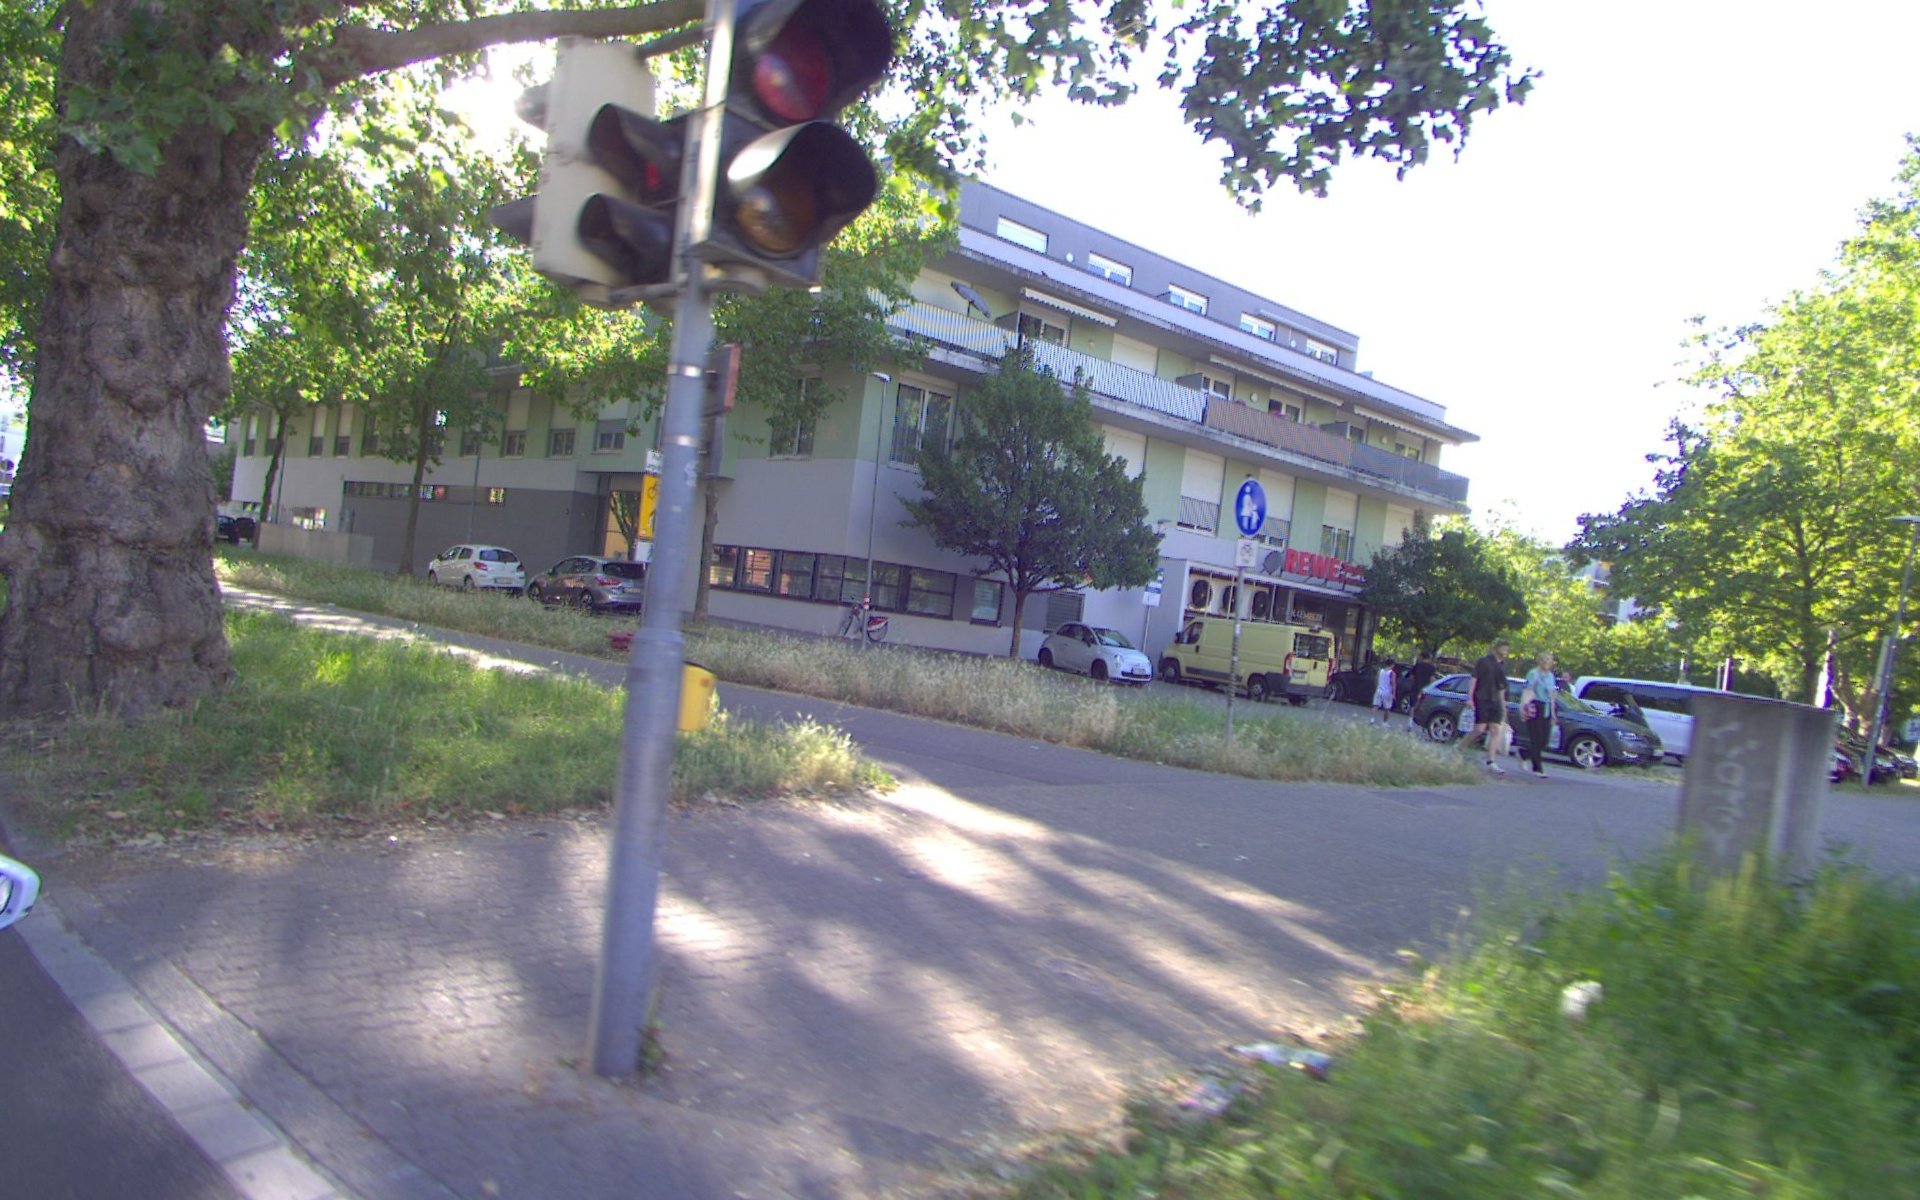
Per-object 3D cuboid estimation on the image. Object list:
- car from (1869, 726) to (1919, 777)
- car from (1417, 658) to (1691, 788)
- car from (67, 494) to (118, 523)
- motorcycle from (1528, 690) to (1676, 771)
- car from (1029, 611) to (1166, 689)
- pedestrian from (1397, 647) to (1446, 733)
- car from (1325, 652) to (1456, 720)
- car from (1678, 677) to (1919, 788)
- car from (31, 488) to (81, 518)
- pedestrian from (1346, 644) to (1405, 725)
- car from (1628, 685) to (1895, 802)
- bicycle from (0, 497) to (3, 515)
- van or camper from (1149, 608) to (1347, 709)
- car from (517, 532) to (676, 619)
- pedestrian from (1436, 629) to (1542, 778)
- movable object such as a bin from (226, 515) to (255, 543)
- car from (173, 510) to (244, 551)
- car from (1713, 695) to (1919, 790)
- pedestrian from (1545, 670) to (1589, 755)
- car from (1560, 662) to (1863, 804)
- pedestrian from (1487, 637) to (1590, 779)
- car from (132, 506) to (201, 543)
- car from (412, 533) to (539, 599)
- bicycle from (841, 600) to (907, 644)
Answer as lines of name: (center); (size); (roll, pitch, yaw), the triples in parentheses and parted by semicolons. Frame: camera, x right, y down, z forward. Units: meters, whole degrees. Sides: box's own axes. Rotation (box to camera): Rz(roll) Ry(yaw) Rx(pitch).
car: (38.658, 6.145, 39.349); (4.035, 1.819, 2.001); (6, -2, 20)
car: (11.041, 2.242, 18.944); (1.663, 1.542, 3.941); (7, 3, -39)
car: (-66.045, -6.994, 76.572); (4.117, 1.755, 1.985); (7, 0, 37)
motorcycle: (13.209, 2.660, 20.765); (0.944, 1.263, 2.292); (7, 0, -38)
car: (3.723, 1.338, 27.750); (1.660, 1.473, 3.522); (8, 3, -34)
pedestrian: (10.547, 2.049, 22.980); (0.676, 1.832, 0.961); (7, 1, 35)
car: (14.357, 2.855, 33.712); (1.563, 1.653, 3.643); (7, 0, -34)
car: (21.890, 3.385, 26.232); (1.983, 1.798, 4.587); (8, 3, -34)
car: (-67.468, -7.251, 75.046); (4.116, 1.755, 1.876); (7, 0, 36)
pedestrian: (9.607, 1.937, 23.255); (0.935, 1.719, 0.881); (7, 1, 34)
car: (19.650, 3.477, 24.890); (1.983, 1.798, 4.587); (8, 3, -34)
bicycle: (-52.950, -5.206, 54.911); (1.459, 1.016, 0.384); (7, 1, 23)
van or camper: (8.431, 1.673, 30.028); (2.242, 2.274, 5.324); (7, 0, -32)
car: (-9.665, -0.678, 26.627); (4.257, 1.792, 1.903); (7, 0, 39)
pedestrian: (7.512, 1.454, 14.321); (0.769, 1.956, 0.837); (7, 1, -10)
movable object such as a bin: (-43.205, -4.240, 60.399); (1.188, 1.481, 1.392); (7, 0, -40)
car: (-36.964, -3.441, 49.475); (3.704, 1.572, 1.858); (7, 0, 39)
car: (26.136, 4.273, 30.891); (4.560, 1.798, 1.995); (11, 3, 36)
pedestrian: (13.292, 2.464, 22.040); (0.556, 1.772, 0.526); (7, -1, -40)
car: (17.080, 2.963, 23.181); (1.983, 2.123, 5.002); (7, 3, -34)
pedestrian: (8.398, 1.551, 14.630); (0.790, 1.903, 0.783); (7, 1, -11)
car: (-41.947, -3.996, 53.166); (4.061, 1.486, 1.859); (7, 0, 37)
car: (-15.224, -1.082, 31.513); (4.257, 1.561, 1.858); (7, 0, 39)
bicycle: (-2.418, 0.624, 28.405); (1.663, 1.030, 0.583); (7, 0, -32)
